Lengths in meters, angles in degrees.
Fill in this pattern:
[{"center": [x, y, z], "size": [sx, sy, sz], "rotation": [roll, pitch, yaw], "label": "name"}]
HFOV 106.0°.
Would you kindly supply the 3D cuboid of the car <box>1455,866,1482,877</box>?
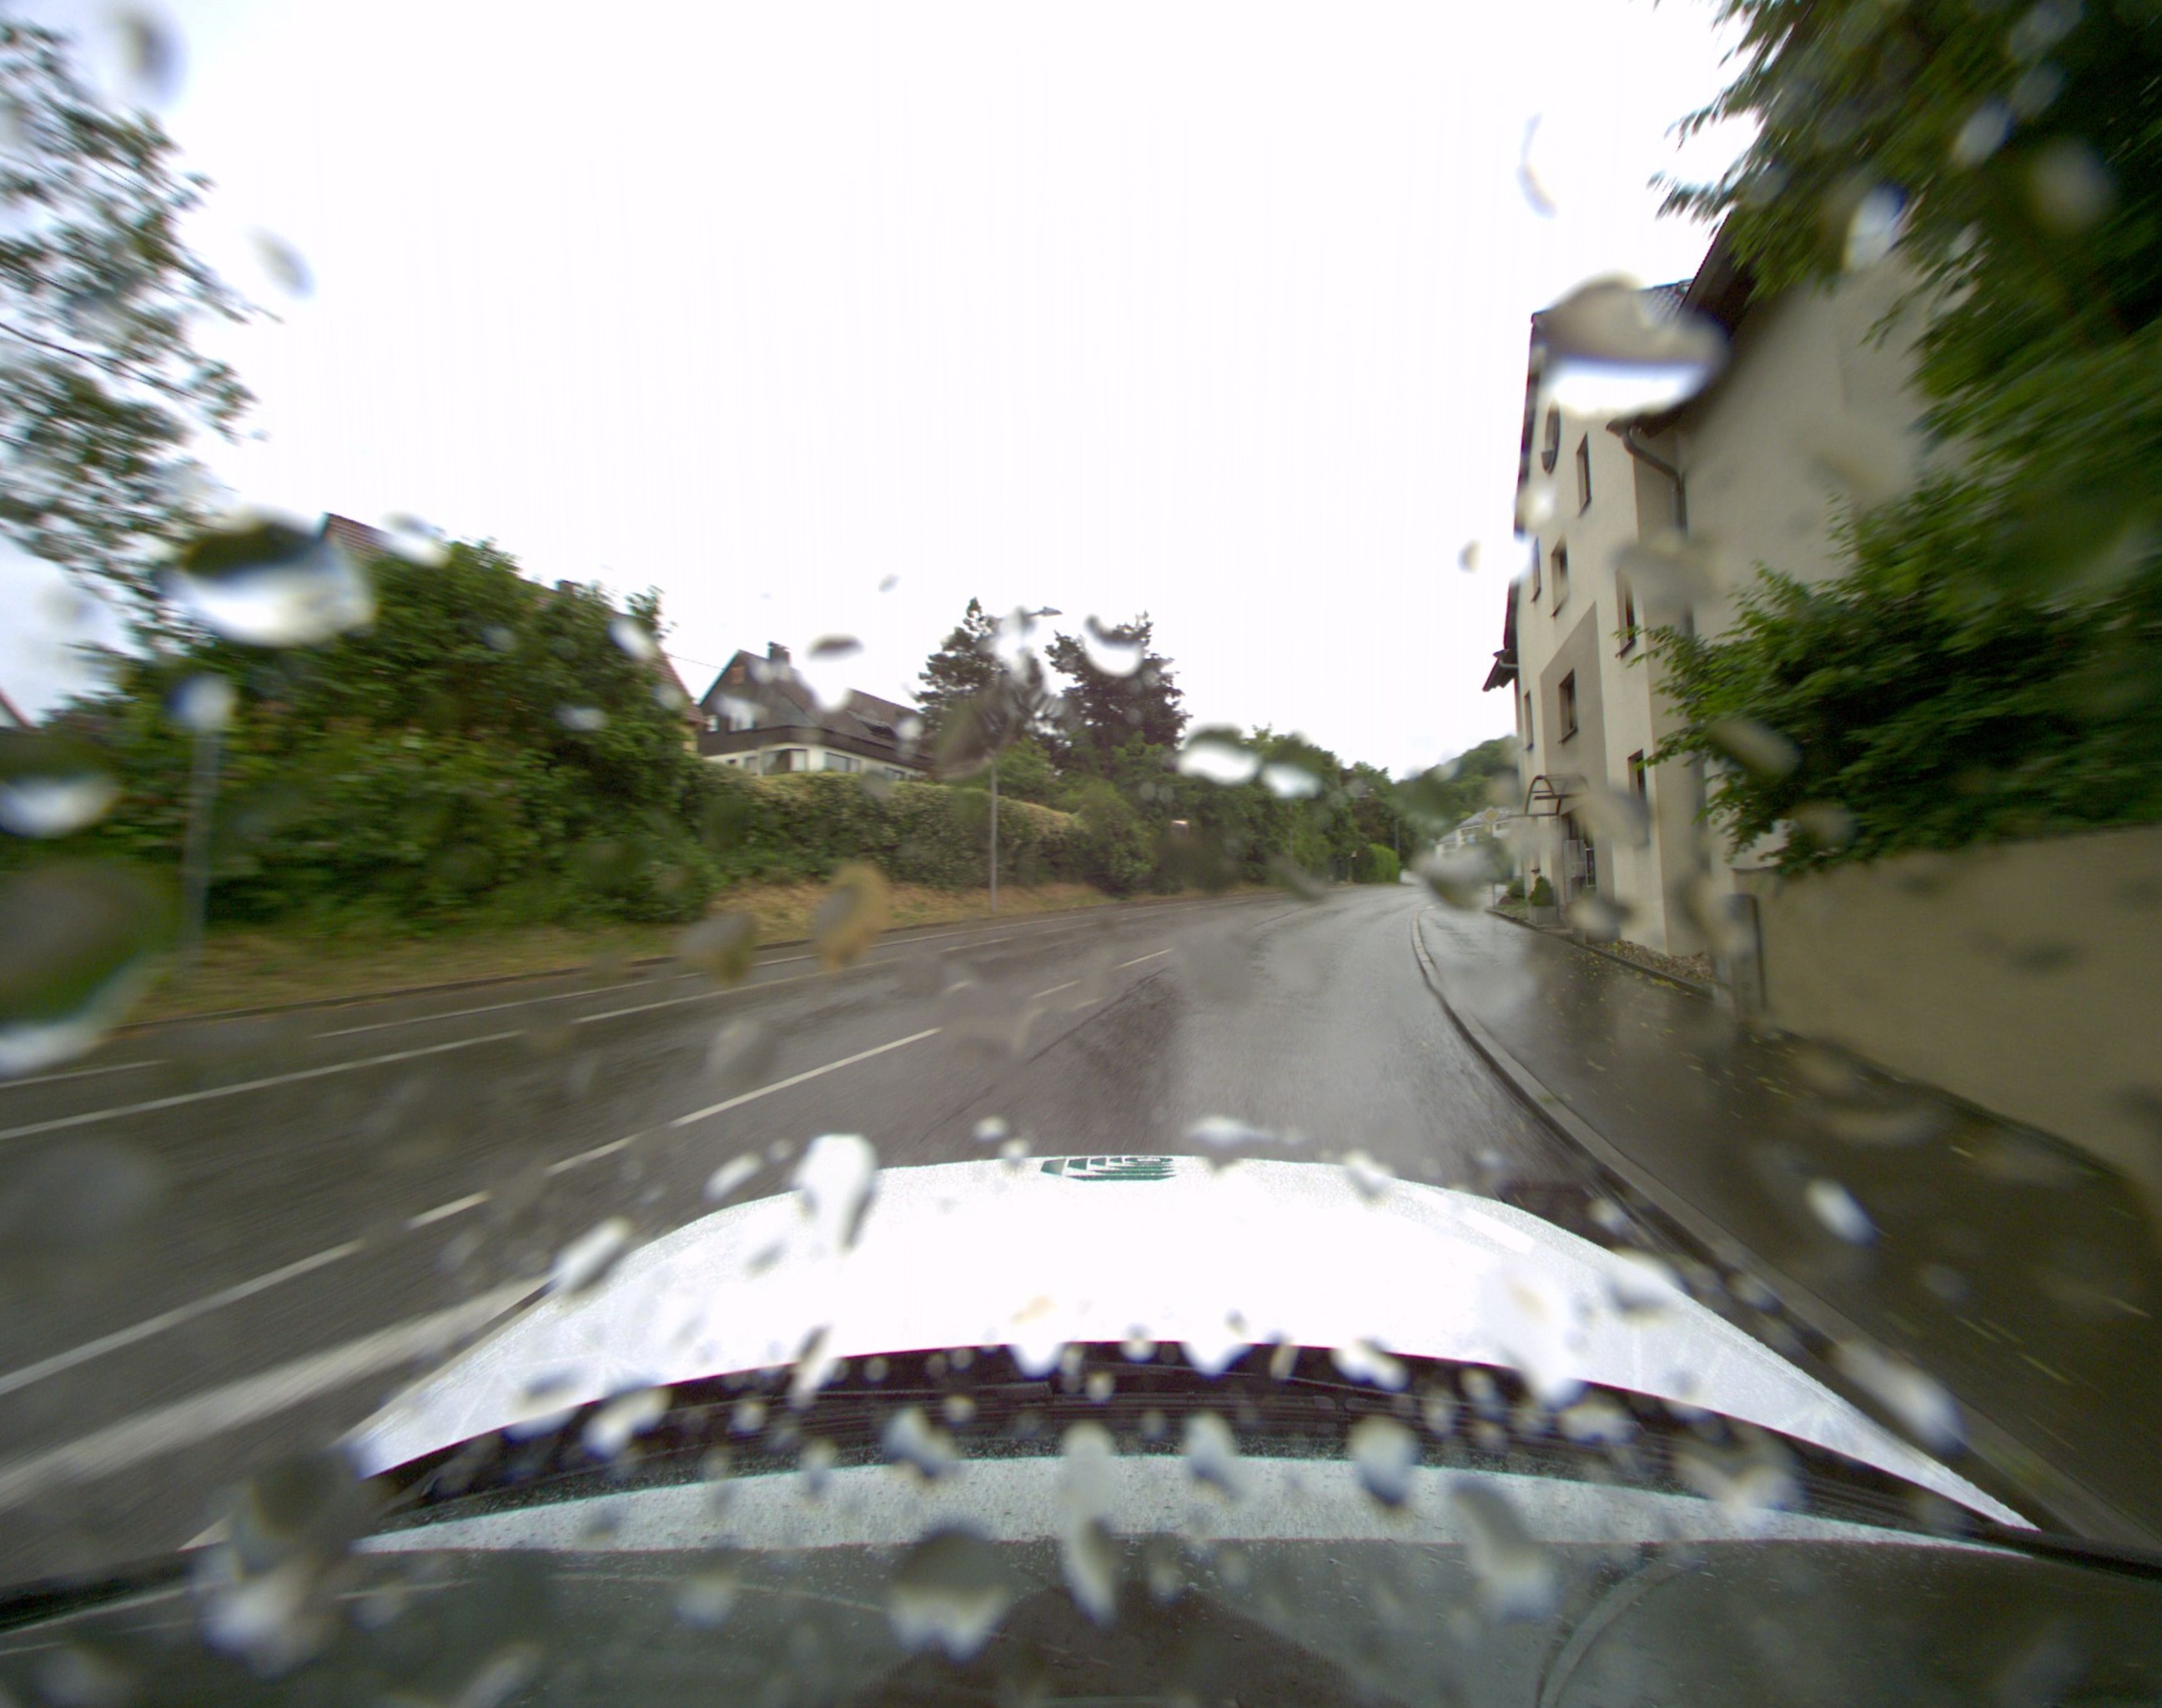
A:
[{"center": [65.950, 2.941, 138.787], "size": [3.955, 1.772, 2.009], "rotation": [1, -3, 18], "label": "car"}]
